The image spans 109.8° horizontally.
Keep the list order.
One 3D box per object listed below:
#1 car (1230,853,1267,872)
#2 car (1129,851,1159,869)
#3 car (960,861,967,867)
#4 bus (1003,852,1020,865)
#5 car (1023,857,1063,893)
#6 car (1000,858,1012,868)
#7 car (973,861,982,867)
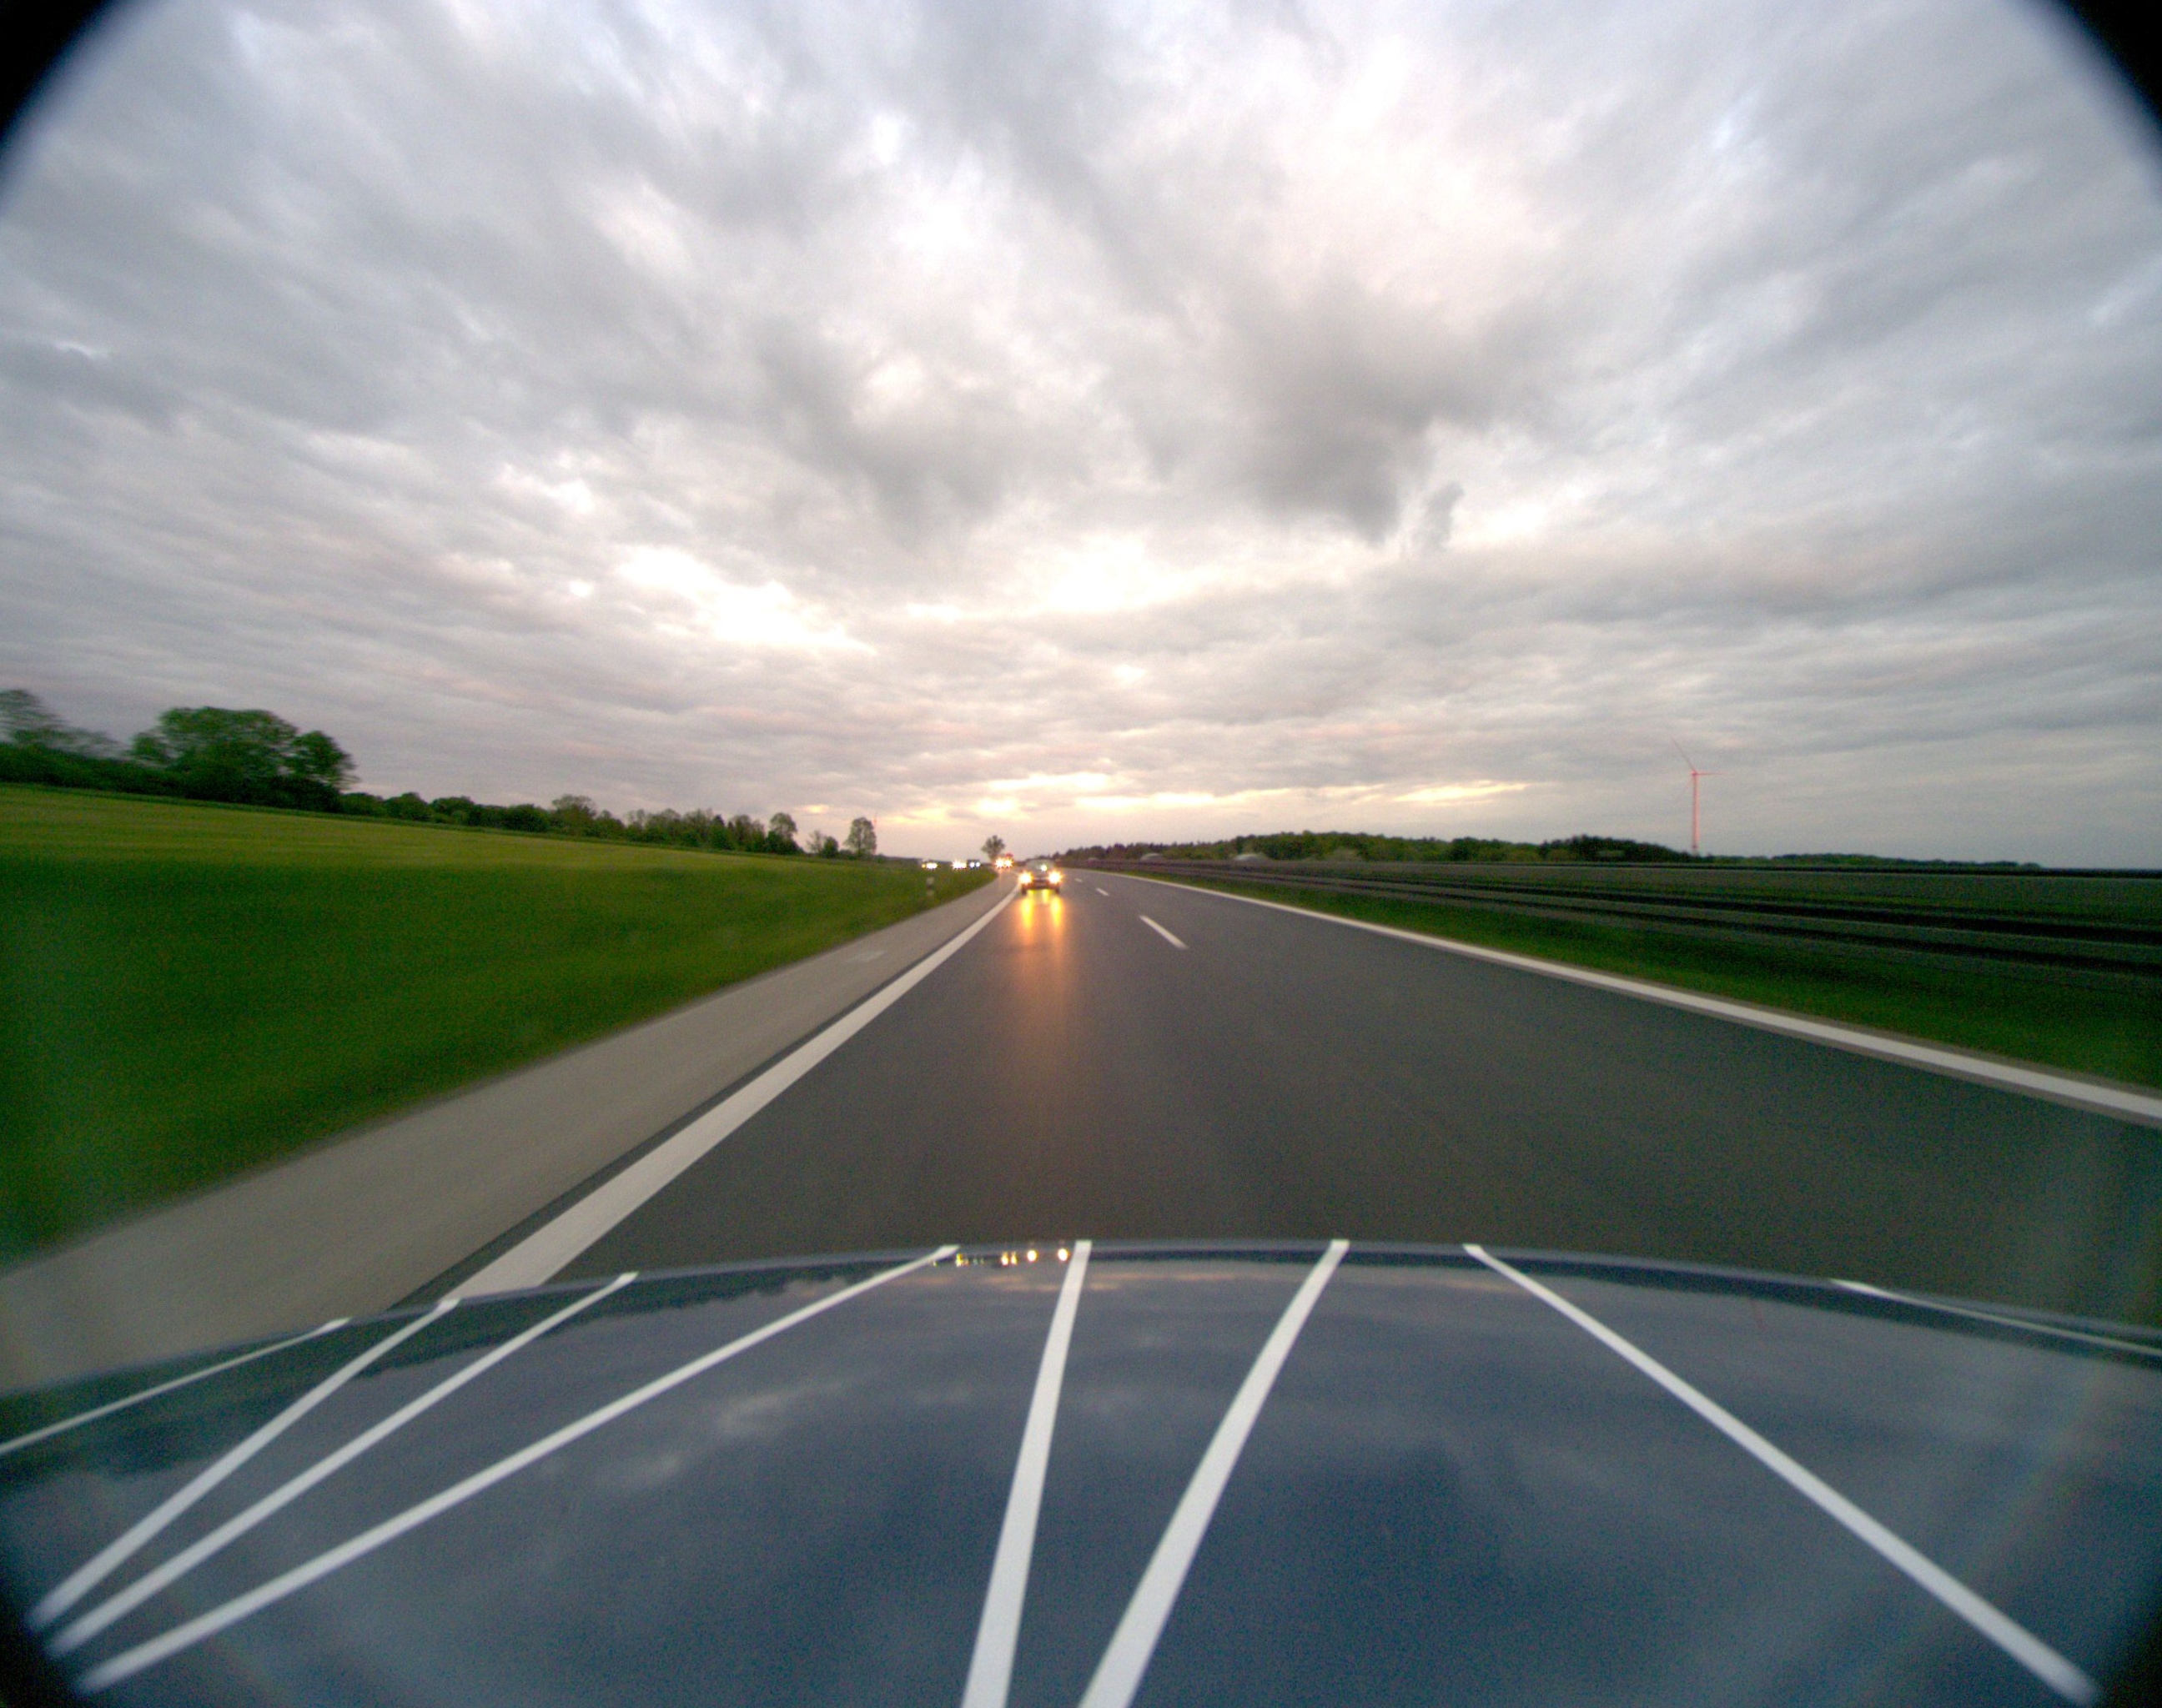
[{"bbox_3d":[13.126,0.697,59.730,1.658,1.410,3.999,-2,-1,-4],"label":"car"},{"bbox_3d":[6.421,0.590,77.805,2.000,1.717,4.767,-2,0,-7],"label":"car"},{"bbox_3d":[-35.429,3.012,229.356,1.804,1.635,4.089,-1,0,-15],"label":"car"},{"bbox_3d":[-22.633,1.338,246.628,3.177,4.052,14.792,-2,0,-14],"label":"bus"},{"bbox_3d":[-1.745,0.923,35.029,1.682,1.504,3.999,-2,0,-3],"label":"car"},{"bbox_3d":[-13.795,1.567,140.359,1.921,1.827,3.997,0,0,-9],"label":"car"},{"bbox_3d":[-28.179,2.668,206.174,1.805,1.635,4.088,-1,0,-16],"label":"car"}]
